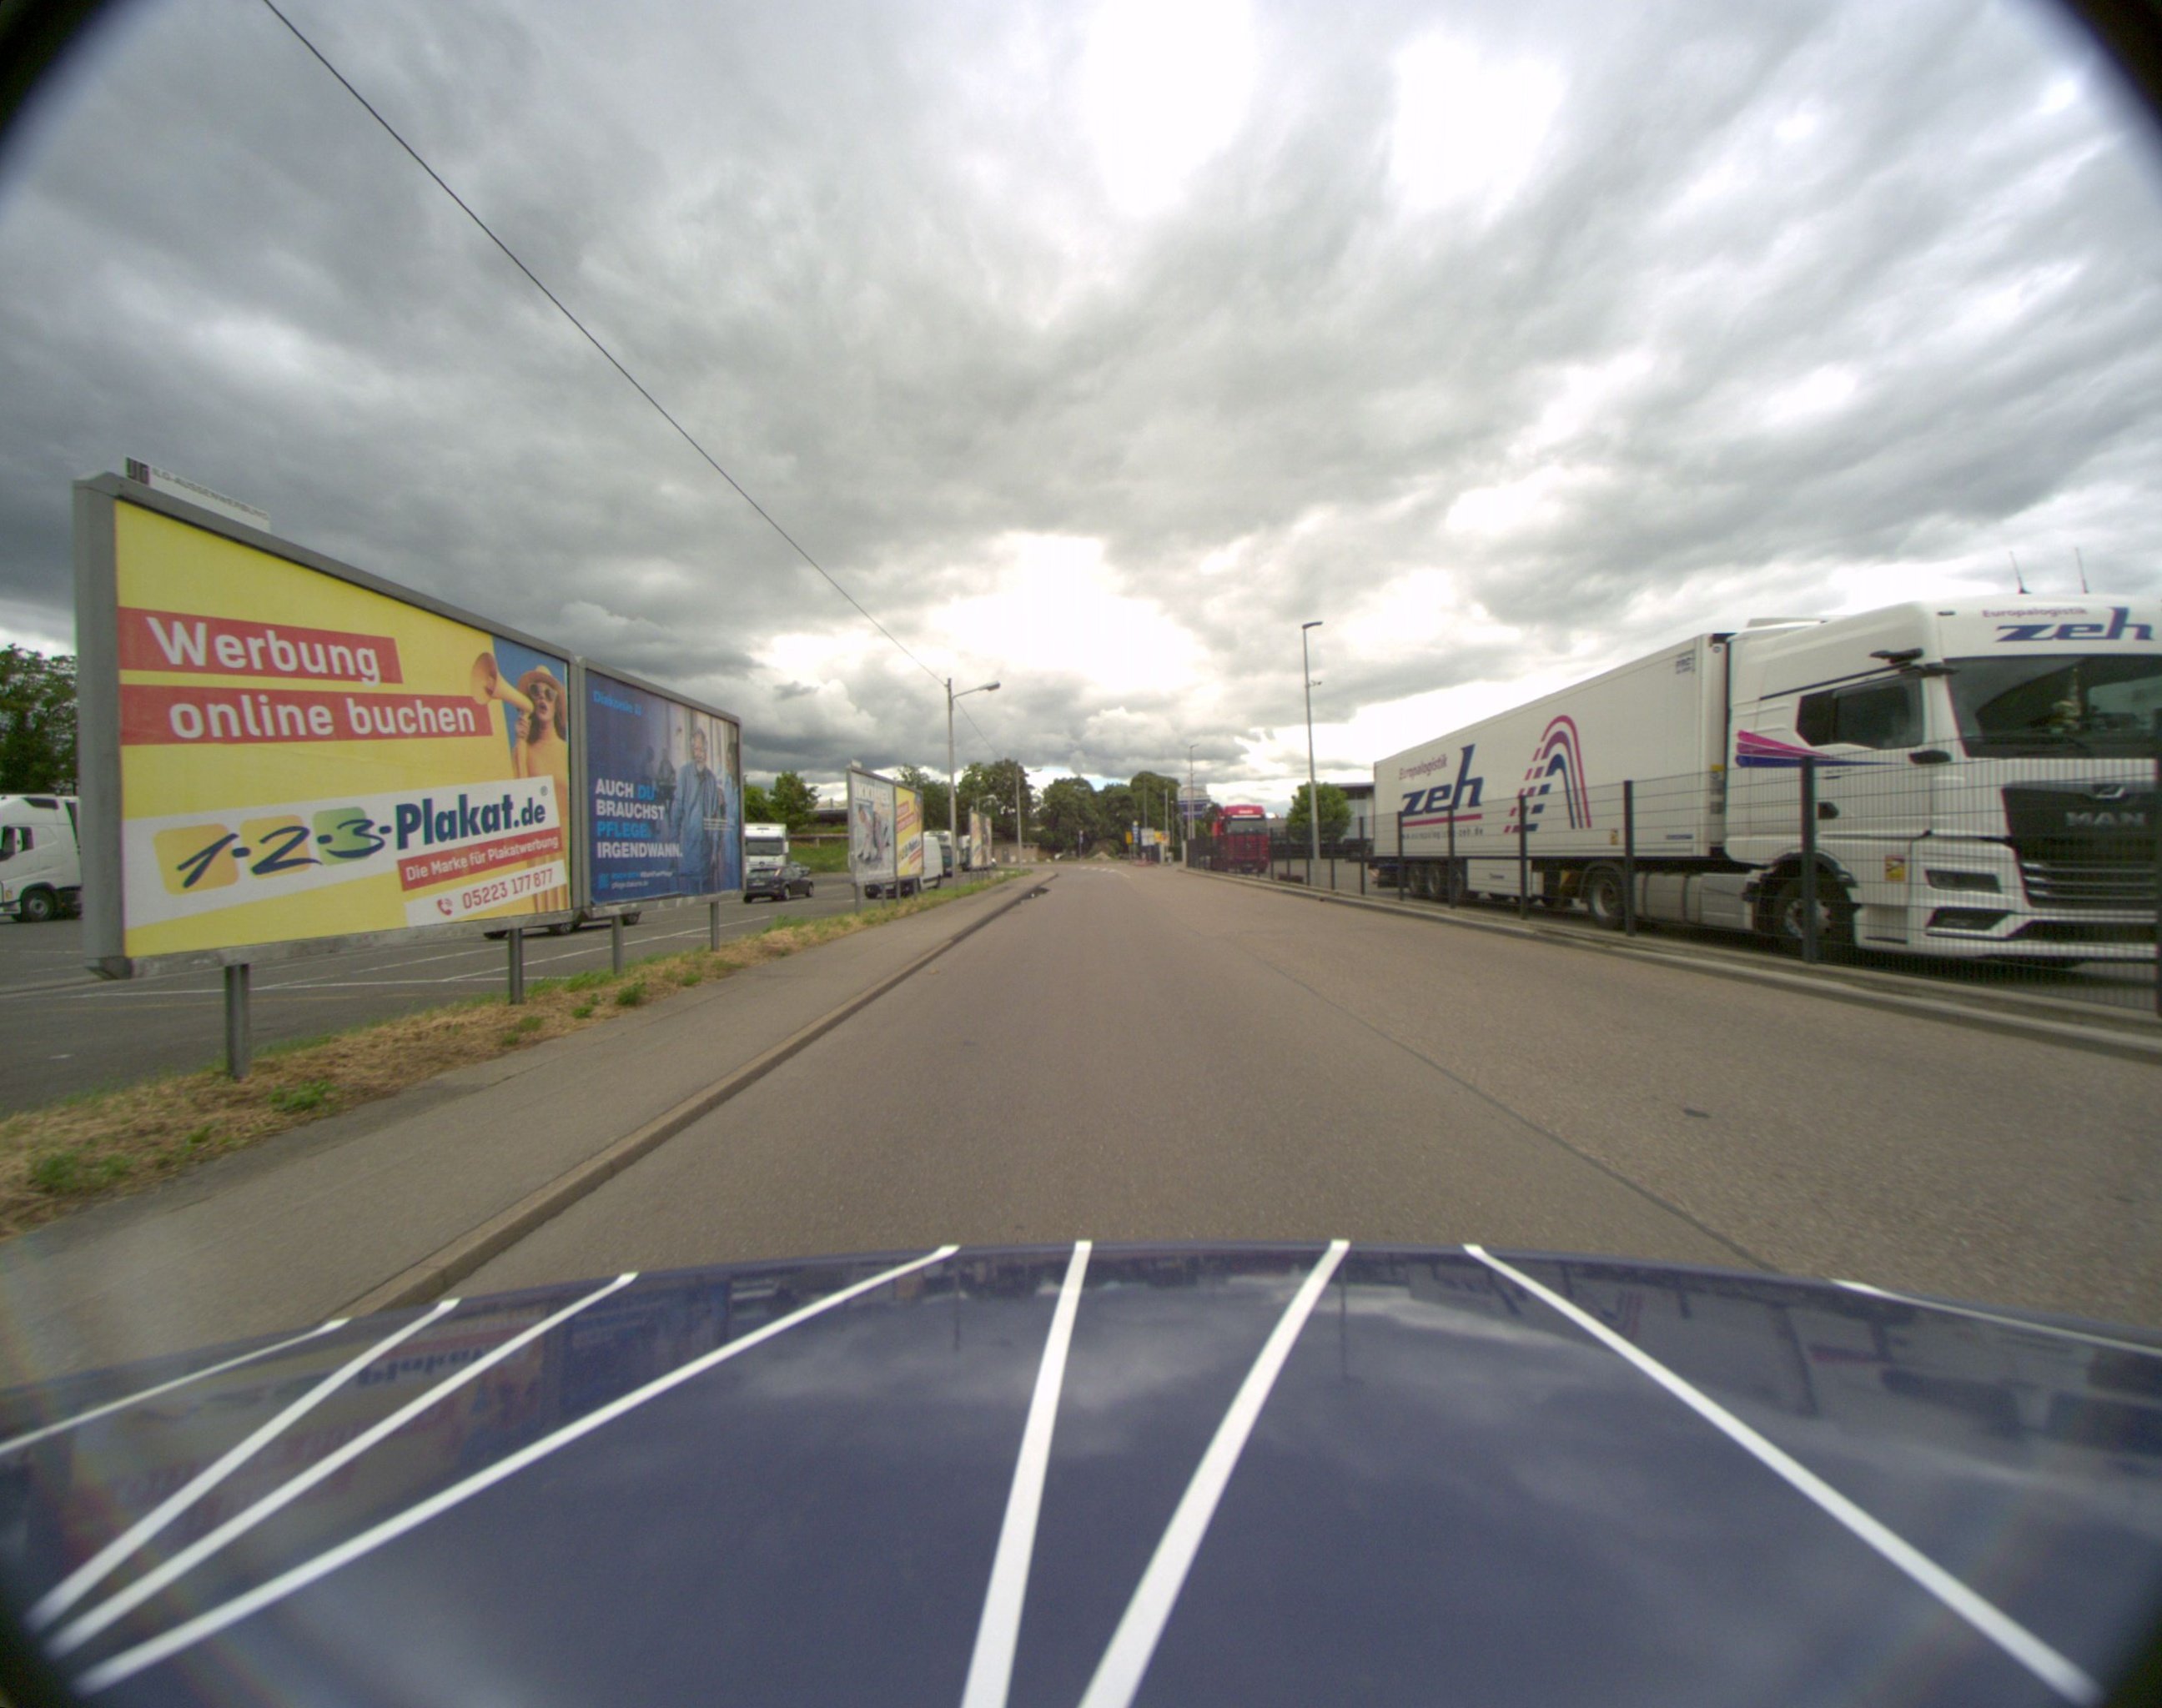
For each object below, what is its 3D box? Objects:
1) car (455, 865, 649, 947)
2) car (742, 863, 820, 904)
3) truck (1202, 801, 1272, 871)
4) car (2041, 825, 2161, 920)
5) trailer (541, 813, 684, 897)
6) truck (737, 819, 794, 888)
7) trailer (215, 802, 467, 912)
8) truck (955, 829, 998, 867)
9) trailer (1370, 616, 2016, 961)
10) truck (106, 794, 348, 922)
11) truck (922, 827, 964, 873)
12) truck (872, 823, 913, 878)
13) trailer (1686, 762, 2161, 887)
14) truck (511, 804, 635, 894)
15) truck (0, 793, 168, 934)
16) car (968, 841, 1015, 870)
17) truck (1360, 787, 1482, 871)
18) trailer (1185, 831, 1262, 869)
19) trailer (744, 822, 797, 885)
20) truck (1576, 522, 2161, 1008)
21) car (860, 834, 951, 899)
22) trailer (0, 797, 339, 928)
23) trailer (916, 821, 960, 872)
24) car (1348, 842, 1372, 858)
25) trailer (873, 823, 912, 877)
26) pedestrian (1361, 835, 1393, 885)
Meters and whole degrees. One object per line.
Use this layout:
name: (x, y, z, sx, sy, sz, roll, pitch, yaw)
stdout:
car: (-12.512, 1.145, 18.341, 1.769, 1.562, 3.999, -3, 1, 0)
car: (-12.508, 1.178, 31.974, 1.497, 1.486, 4.053, -1, 1, 2)
truck: (9.084, -1.038, 44.879, 3.021, 3.827, 5.670, 1, 1, 1)
car: (22.862, 0.342, 14.314, 5.679, 1.799, 1.947, 0, 1, 22)
trailer: (-26.372, 0.019, 43.798, 2.841, 4.071, 13.380, 0, 0, -13)
truck: (-20.096, -0.044, 48.712, 2.877, 4.071, 6.745, 0, 0, -19)
trailer: (-32.554, 0.105, 34.514, 2.618, 4.071, 12.426, 0, 0, -16)
truck: (-10.826, -0.604, 77.999, 2.832, 3.690, 9.090, -2, 1, -17)
trailer: (9.995, -0.864, 16.135, 3.366, 4.136, 13.851, 1, 1, 4)
truck: (-30.556, 0.122, 27.689, 2.618, 4.071, 6.746, 0, 0, -16)
truck: (-11.358, -0.324, 62.061, 2.876, 3.609, 6.748, 0, 0, -14)
truck: (-14.361, -0.264, 57.898, 2.876, 3.990, 6.748, 0, 0, -14)
trailer: (31.811, -1.073, 29.077, 13.158, 4.189, 3.053, 1, 1, 23)
truck: (-24.997, -0.251, 37.821, 2.876, 4.071, 6.748, 0, 0, -13)
truck: (-33.201, 0.259, 24.121, 2.618, 4.071, 5.646, 0, 0, -16)
car: (-11.648, 0.190, 98.157, 3.345, 3.586, 8.652, -1, 1, -25)
truck: (17.411, -1.273, 39.231, 4.878, 4.109, 3.048, 1, 1, 1)
trailer: (9.208, -0.290, 50.797, 3.046, 2.179, 12.047, 1, 1, 1)
trailer: (-22.478, -0.066, 55.547, 2.842, 4.071, 13.373, 0, 0, -19)
truck: (9.467, -0.773, 9.278, 3.366, 4.136, 5.628, 1, 1, 4)
car: (-7.167, 0.439, 31.792, 2.091, 2.401, 6.083, -1, 1, 2)
trailer: (-34.906, 0.252, 29.862, 2.618, 4.071, 12.426, 0, 0, -16)
trailer: (-12.996, -0.617, 68.226, 2.841, 4.071, 13.377, 0, 0, -15)
car: (29.457, -0.437, 80.307, 1.996, 1.707, 4.004, -1, 1, 14)
trailer: (-15.932, -0.330, 63.812, 2.841, 4.071, 13.377, 0, 0, -15)
pedestrian: (10.996, 0.229, 28.231, 0.804, 1.809, 0.880, -1, 1, -2)
